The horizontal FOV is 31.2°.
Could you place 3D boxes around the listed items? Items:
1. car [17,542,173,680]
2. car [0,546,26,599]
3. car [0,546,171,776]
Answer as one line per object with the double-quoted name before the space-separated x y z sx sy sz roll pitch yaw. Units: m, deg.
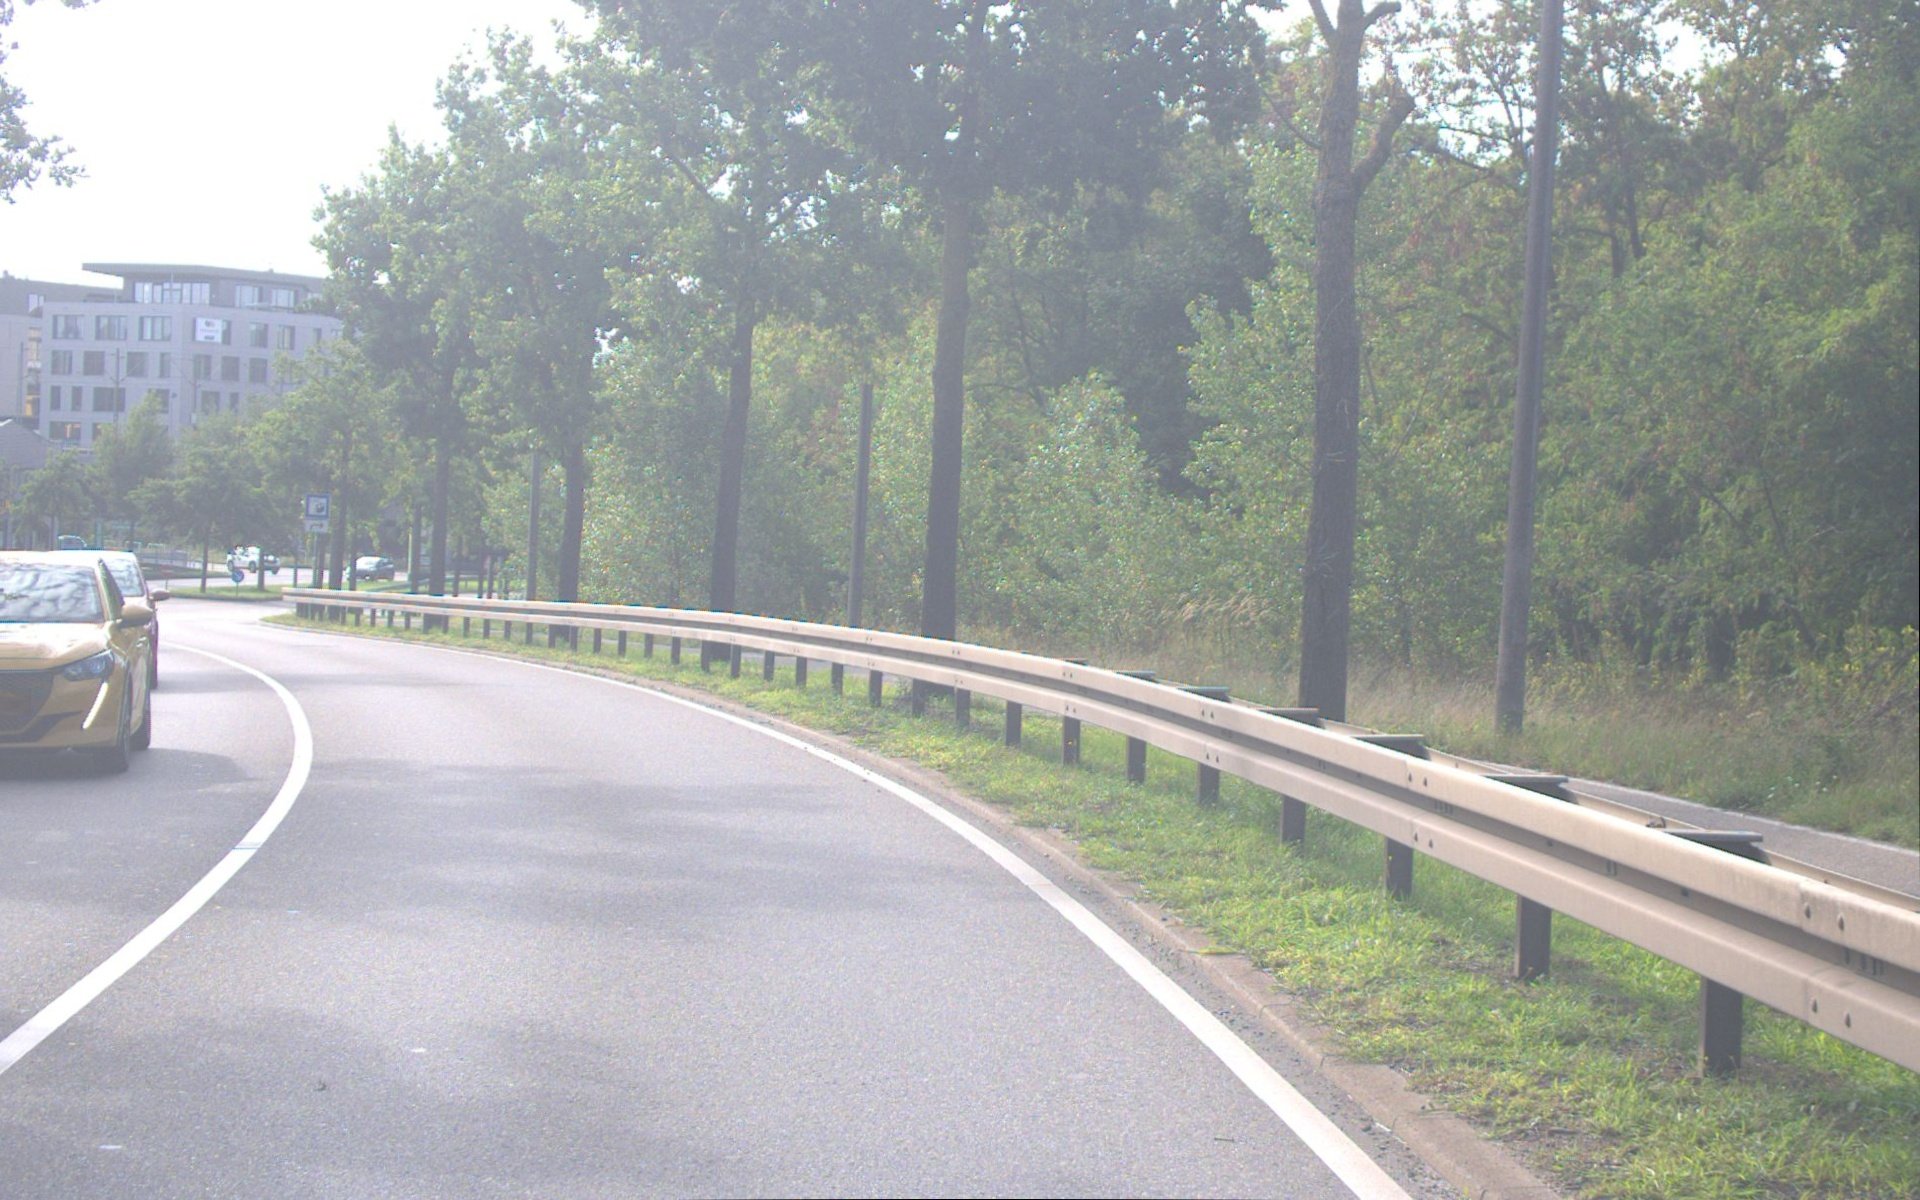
"car" -9.444 0.085 37.415 1.567 1.420 3.592 0 1 -15
"car" -26.685 -0.766 94.829 1.567 1.420 3.592 0 1 -19
"car" -6.409 0.351 23.313 1.799 1.420 3.873 0 1 -9
